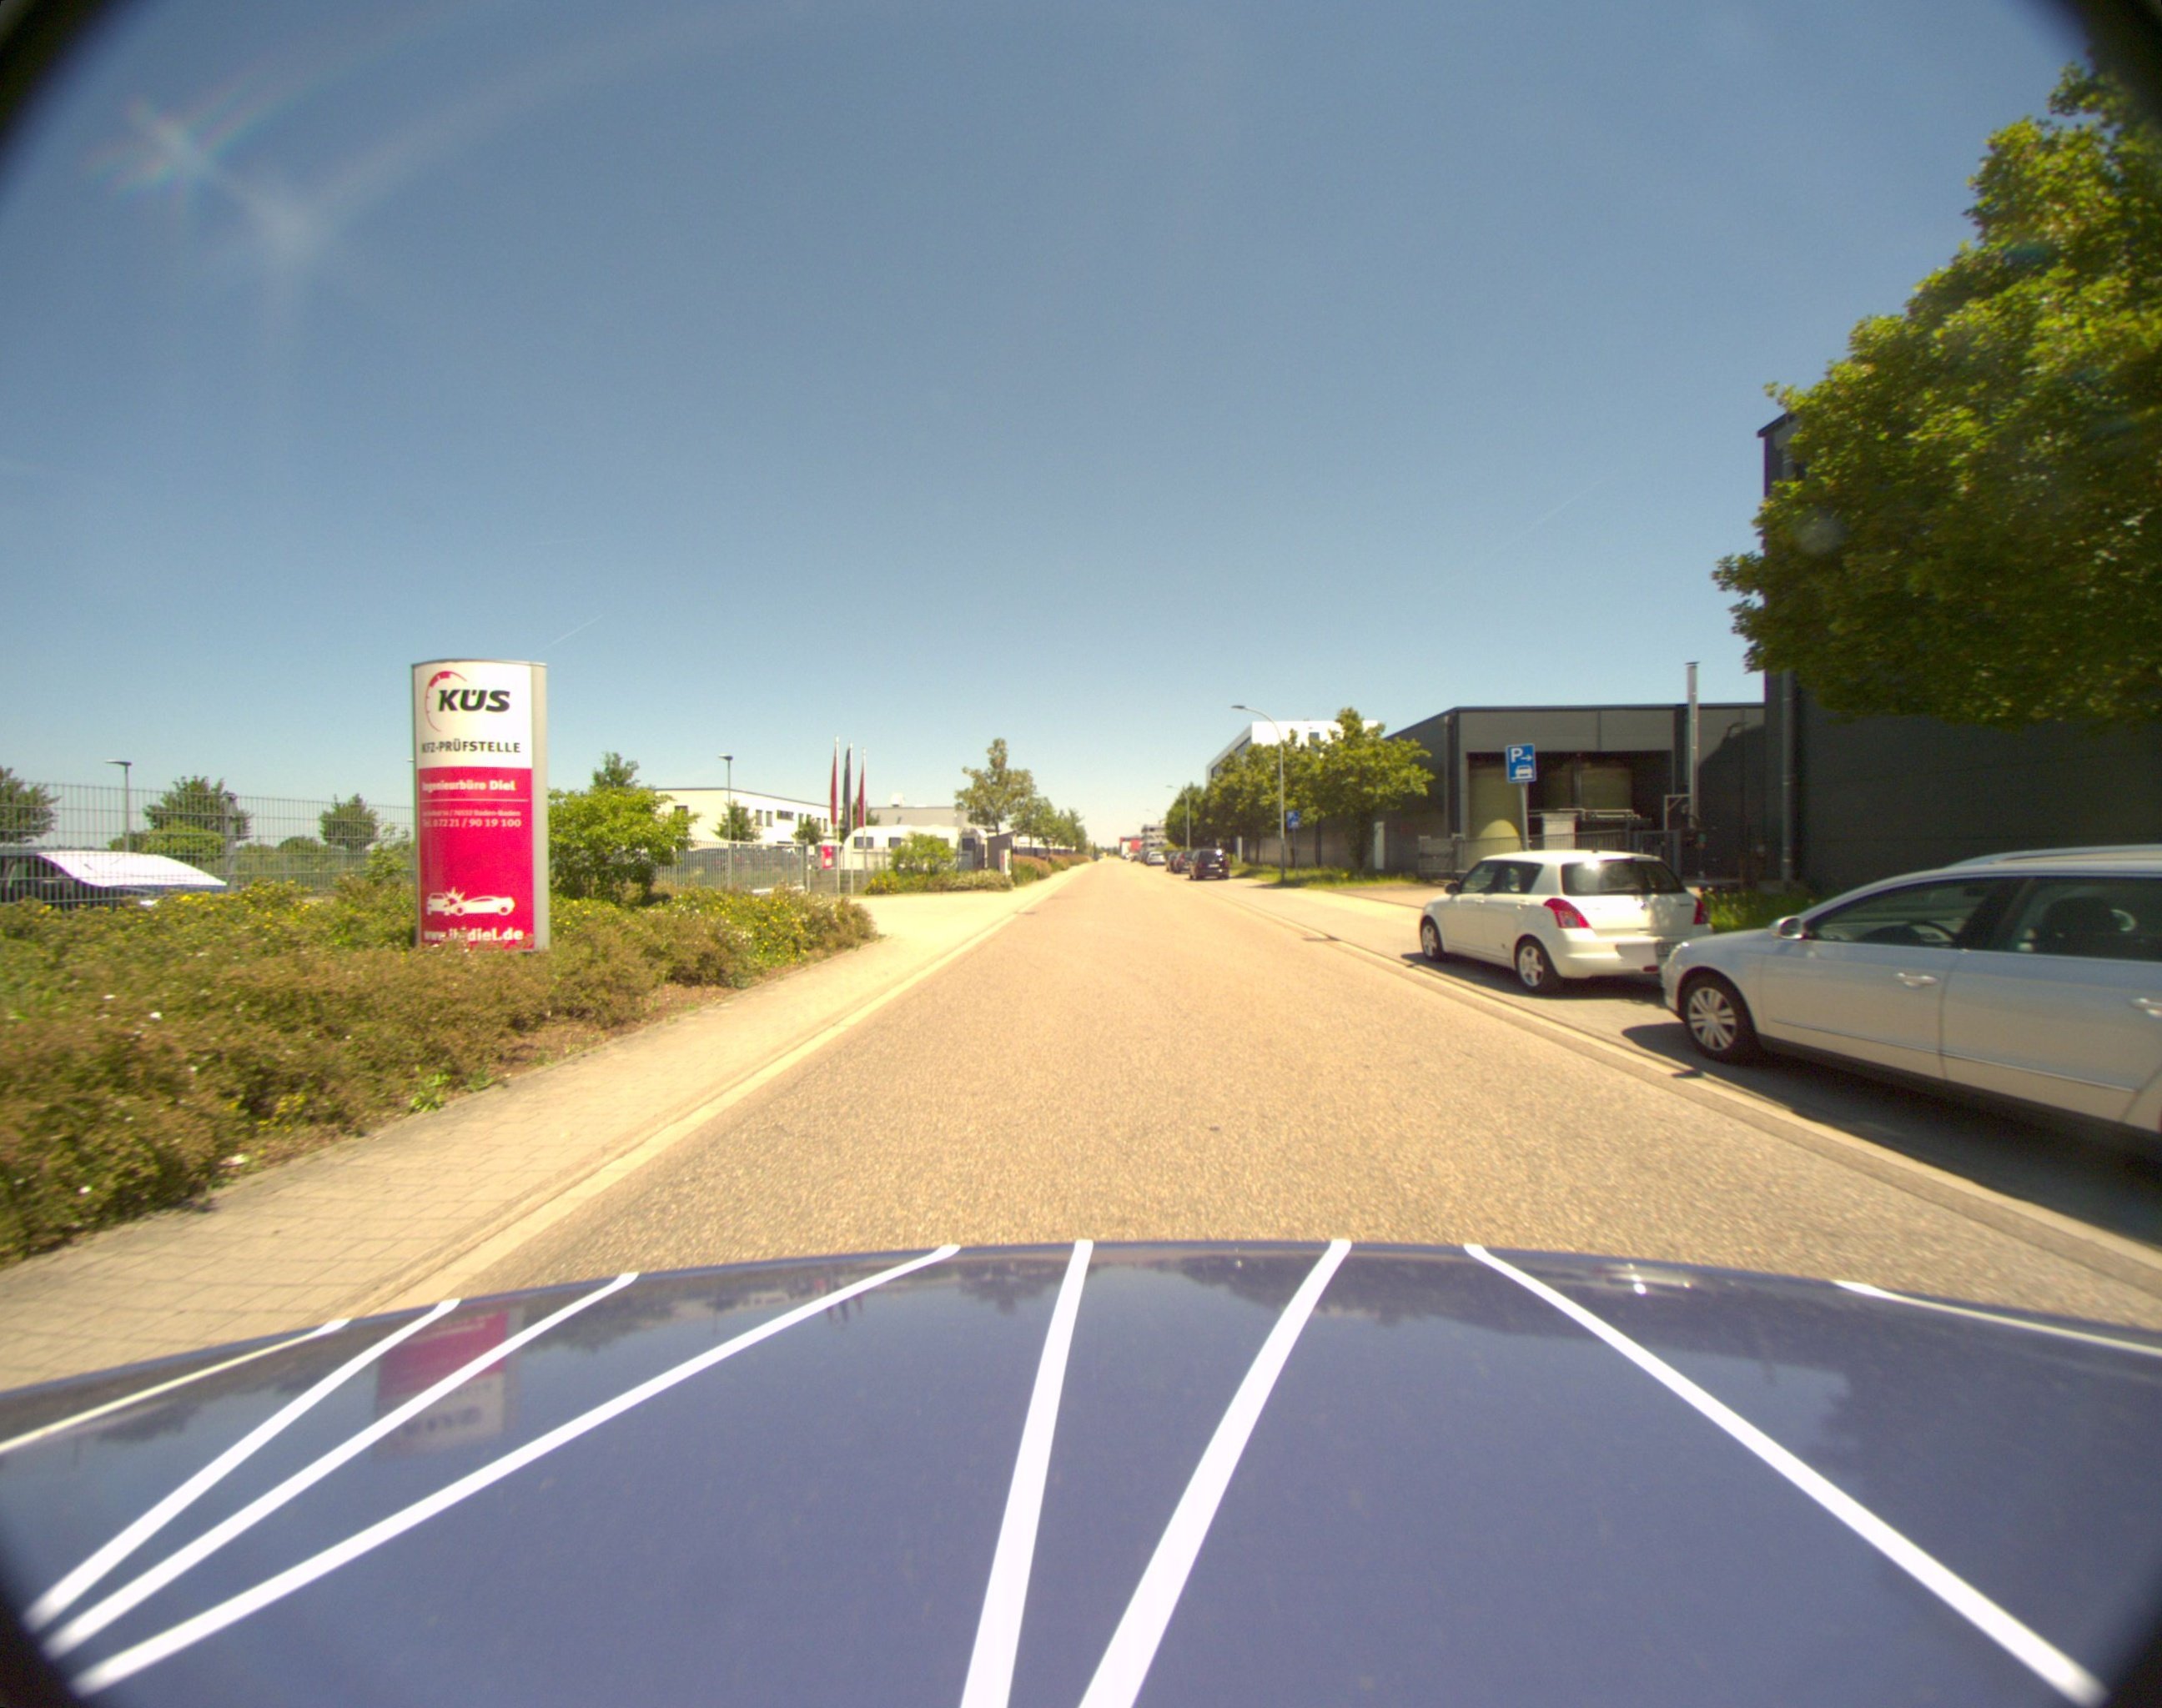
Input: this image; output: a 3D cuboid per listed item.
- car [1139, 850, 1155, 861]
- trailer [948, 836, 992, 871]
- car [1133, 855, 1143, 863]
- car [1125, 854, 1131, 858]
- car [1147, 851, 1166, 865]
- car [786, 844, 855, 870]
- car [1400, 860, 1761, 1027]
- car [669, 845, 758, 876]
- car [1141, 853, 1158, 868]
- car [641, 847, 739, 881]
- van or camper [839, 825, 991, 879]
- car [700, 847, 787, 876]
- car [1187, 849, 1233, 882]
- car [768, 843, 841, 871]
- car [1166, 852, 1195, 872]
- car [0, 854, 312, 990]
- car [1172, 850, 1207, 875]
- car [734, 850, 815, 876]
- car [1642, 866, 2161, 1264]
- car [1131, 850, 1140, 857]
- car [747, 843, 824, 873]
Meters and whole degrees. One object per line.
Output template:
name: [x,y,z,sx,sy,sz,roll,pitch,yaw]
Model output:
car: [9.256,0.230,106.556,1.775,1.578,4.481,-1,0,0]
trailer: [-7.743,-0.055,53.167,2.830,2.389,1.419,1,1,-2]
car: [10.952,0.894,146.385,1.678,1.442,4.069,-2,0,2]
car: [15.919,0.680,256.980,1.694,1.481,3.661,-3,0,3]
car: [8.101,0.439,81.794,1.775,1.422,3.940,-1,0,2]
car: [-18.007,0.205,52.618,4.051,1.753,1.918,0,1,2]
car: [5.436,0.841,8.966,1.725,1.467,3.857,-1,0,0]
car: [-18.993,0.339,39.355,3.830,1.534,1.678,0,1,2]
car: [8.434,0.756,93.844,1.775,1.614,4.582,-5,0,2]
car: [-18.885,0.465,36.765,3.830,1.567,1.750,0,1,2]
van or camper: [-7.985,-0.100,37.065,6.773,2.570,2.636,0,1,2]
car: [-18.720,0.399,42.257,4.051,1.540,1.748,0,1,2]
car: [6.829,0.579,40.489,1.775,1.602,4.247,-1,0,1]
car: [-18.265,0.190,50.308,4.051,1.753,1.918,0,1,2]
car: [7.655,0.587,58.930,1.775,1.422,4.201,-1,0,1]
car: [-13.099,0.852,10.292,3.619,1.667,1.703,0,1,1]
car: [7.459,0.539,52.620,1.775,1.602,4.852,-1,0,1]
car: [-17.939,0.511,44.590,4.051,1.423,1.748,0,1,2]
car: [5.174,0.857,3.619,1.803,1.467,4.555,-1,0,3]
car: [11.621,-0.152,161.943,1.678,1.521,3.910,-1,0,2]
car: [-18.507,0.219,47.712,4.051,1.796,1.918,0,1,2]
